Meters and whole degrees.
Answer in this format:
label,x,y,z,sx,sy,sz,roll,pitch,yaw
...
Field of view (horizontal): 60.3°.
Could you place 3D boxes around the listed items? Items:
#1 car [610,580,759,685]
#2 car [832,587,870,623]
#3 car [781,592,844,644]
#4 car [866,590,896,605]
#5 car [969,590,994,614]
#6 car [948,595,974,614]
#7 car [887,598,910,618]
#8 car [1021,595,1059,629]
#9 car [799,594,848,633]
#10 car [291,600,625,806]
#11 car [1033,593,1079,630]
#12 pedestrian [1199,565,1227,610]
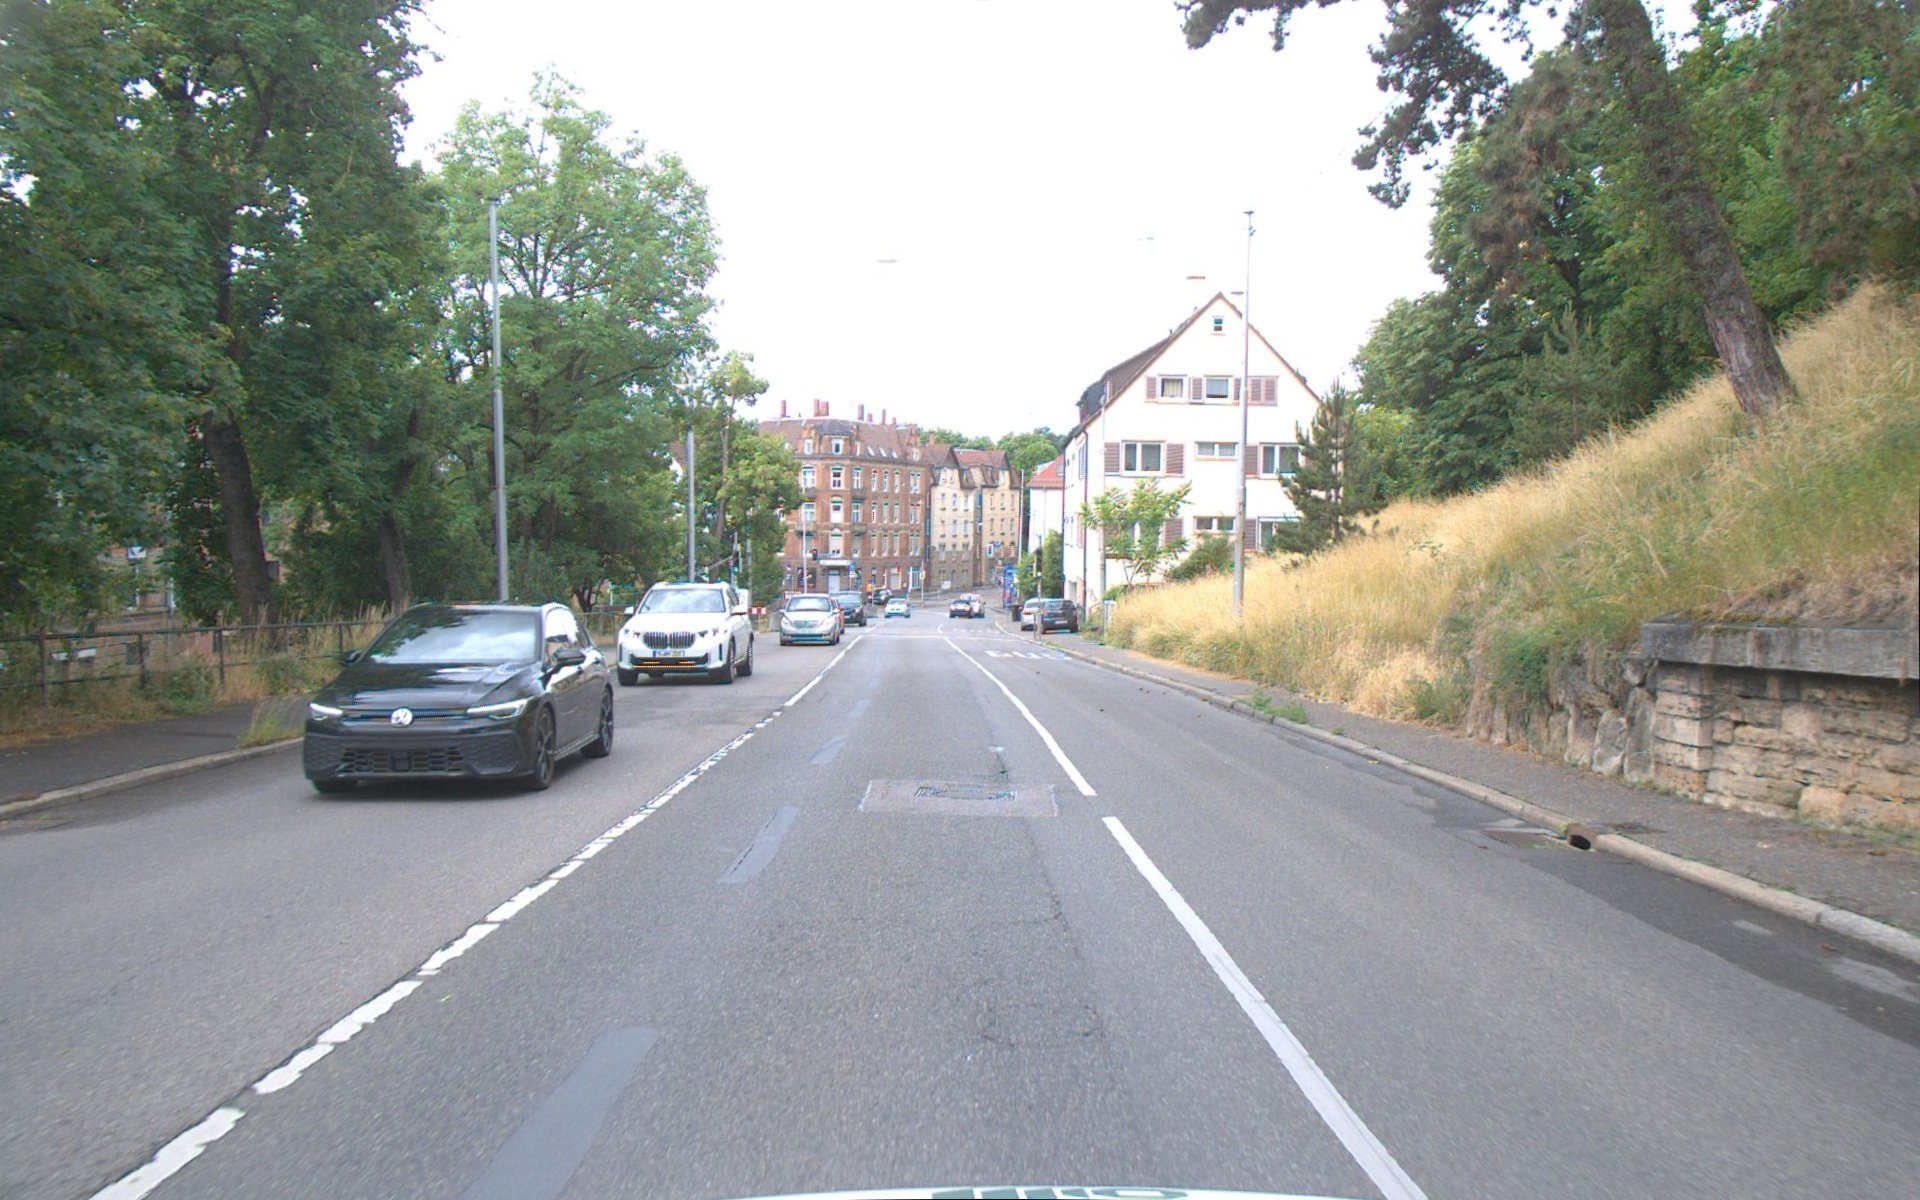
label,x,y,z,sx,sy,sz,roll,pitch,yaw
car,-4.842,0.529,29.733,1.955,1.712,4.662,0,0,-1
car,-5.571,0.262,84.938,1.747,1.776,4.427,-1,0,-1
car,-4.702,0.553,53.078,1.748,1.602,4.279,-1,0,-2
car,-8.265,-0.268,172.782,1.940,1.602,4.378,-1,0,14
car,1.816,0.158,138.855,1.869,1.917,4.002,2,0,3
car,0.083,0.361,132.155,1.778,1.455,4.002,2,0,3
car,-4.705,0.622,126.721,1.685,1.470,4.157,-1,0,-2
car,3.876,0.549,80.746,1.757,1.476,4.720,-3,1,2
car,-5.519,0.535,67.182,1.748,1.485,4.427,-1,0,-2
car,-4.017,0.735,13.935,1.678,1.452,4.137,0,0,-2
car,4.150,0.488,71.825,1.648,1.476,3.999,-3,0,-1
pedestrian,9.958,-0.490,65.006,0.869,1.725,0.872,2,-1,-5
